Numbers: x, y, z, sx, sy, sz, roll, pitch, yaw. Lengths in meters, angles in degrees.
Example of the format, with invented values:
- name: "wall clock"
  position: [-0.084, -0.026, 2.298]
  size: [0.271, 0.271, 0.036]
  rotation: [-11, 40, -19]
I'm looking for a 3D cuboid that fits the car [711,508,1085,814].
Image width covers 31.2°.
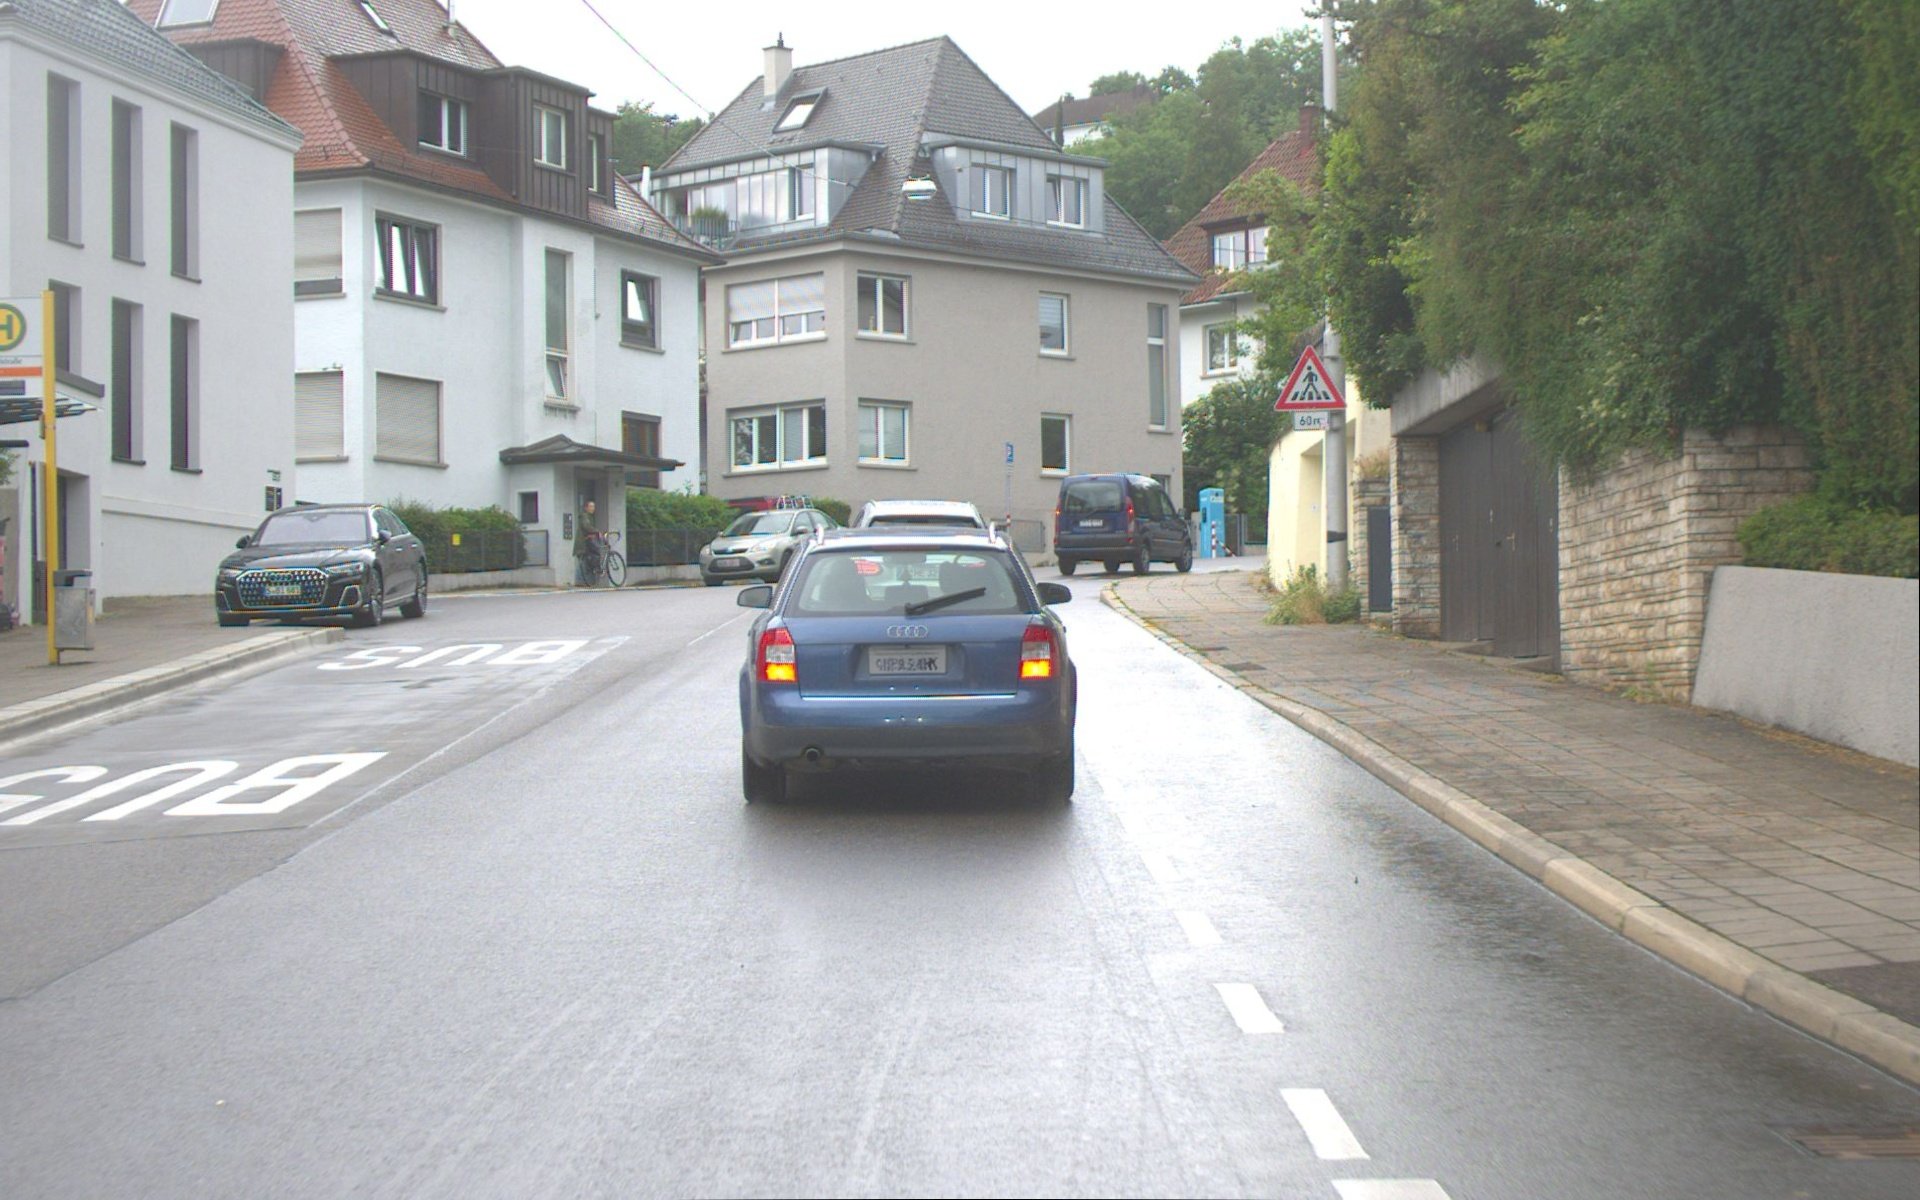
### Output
- name: "car"
  position: [-0.303, 0.246, 18.889]
  size: [1.811, 1.434, 4.082]
  rotation: [1, 2, 0]

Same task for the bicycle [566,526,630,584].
- name: "bicycle"
  position: [-6.910, -0.865, 65.691]
  size: [0.456, 1.063, 1.920]
  rotation: [-1, 2, 18]

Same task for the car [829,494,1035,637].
- name: "car"
  position: [-0.345, -0.346, 35.360]
  size: [1.811, 1.356, 4.001]
  rotation: [1, 0, -5]

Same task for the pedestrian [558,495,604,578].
- name: "pedestrian"
  position: [-7.285, -1.229, 66.126]
  size: [0.493, 1.572, 0.947]
  rotation: [-1, 2, 18]

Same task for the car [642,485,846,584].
- name: "car"
  position: [-4.857, -1.472, 77.247]
  size: [3.992, 1.816, 1.997]
  rotation: [-6, -1, 28]

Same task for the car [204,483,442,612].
- name: "car"
  position: [-7.893, -0.667, 43.063]
  size: [1.829, 1.480, 4.991]
  rotation: [-1, 1, 2]

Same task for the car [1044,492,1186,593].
- name: "car"
  position: [2.896, -1.056, 63.457]
  size: [1.929, 1.700, 3.998]
  rotation: [3, 1, 12]

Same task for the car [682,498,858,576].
- name: "car"
  position: [-3.742, -1.275, 68.299]
  size: [1.838, 1.420, 4.225]
  rotation: [-2, 1, 22]

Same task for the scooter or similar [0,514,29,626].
- name: "scooter or similar"
  position: [-10.647, -0.339, 38.090]
  size: [0.337, 1.215, 1.123]
  rotation: [0, 1, 0]
